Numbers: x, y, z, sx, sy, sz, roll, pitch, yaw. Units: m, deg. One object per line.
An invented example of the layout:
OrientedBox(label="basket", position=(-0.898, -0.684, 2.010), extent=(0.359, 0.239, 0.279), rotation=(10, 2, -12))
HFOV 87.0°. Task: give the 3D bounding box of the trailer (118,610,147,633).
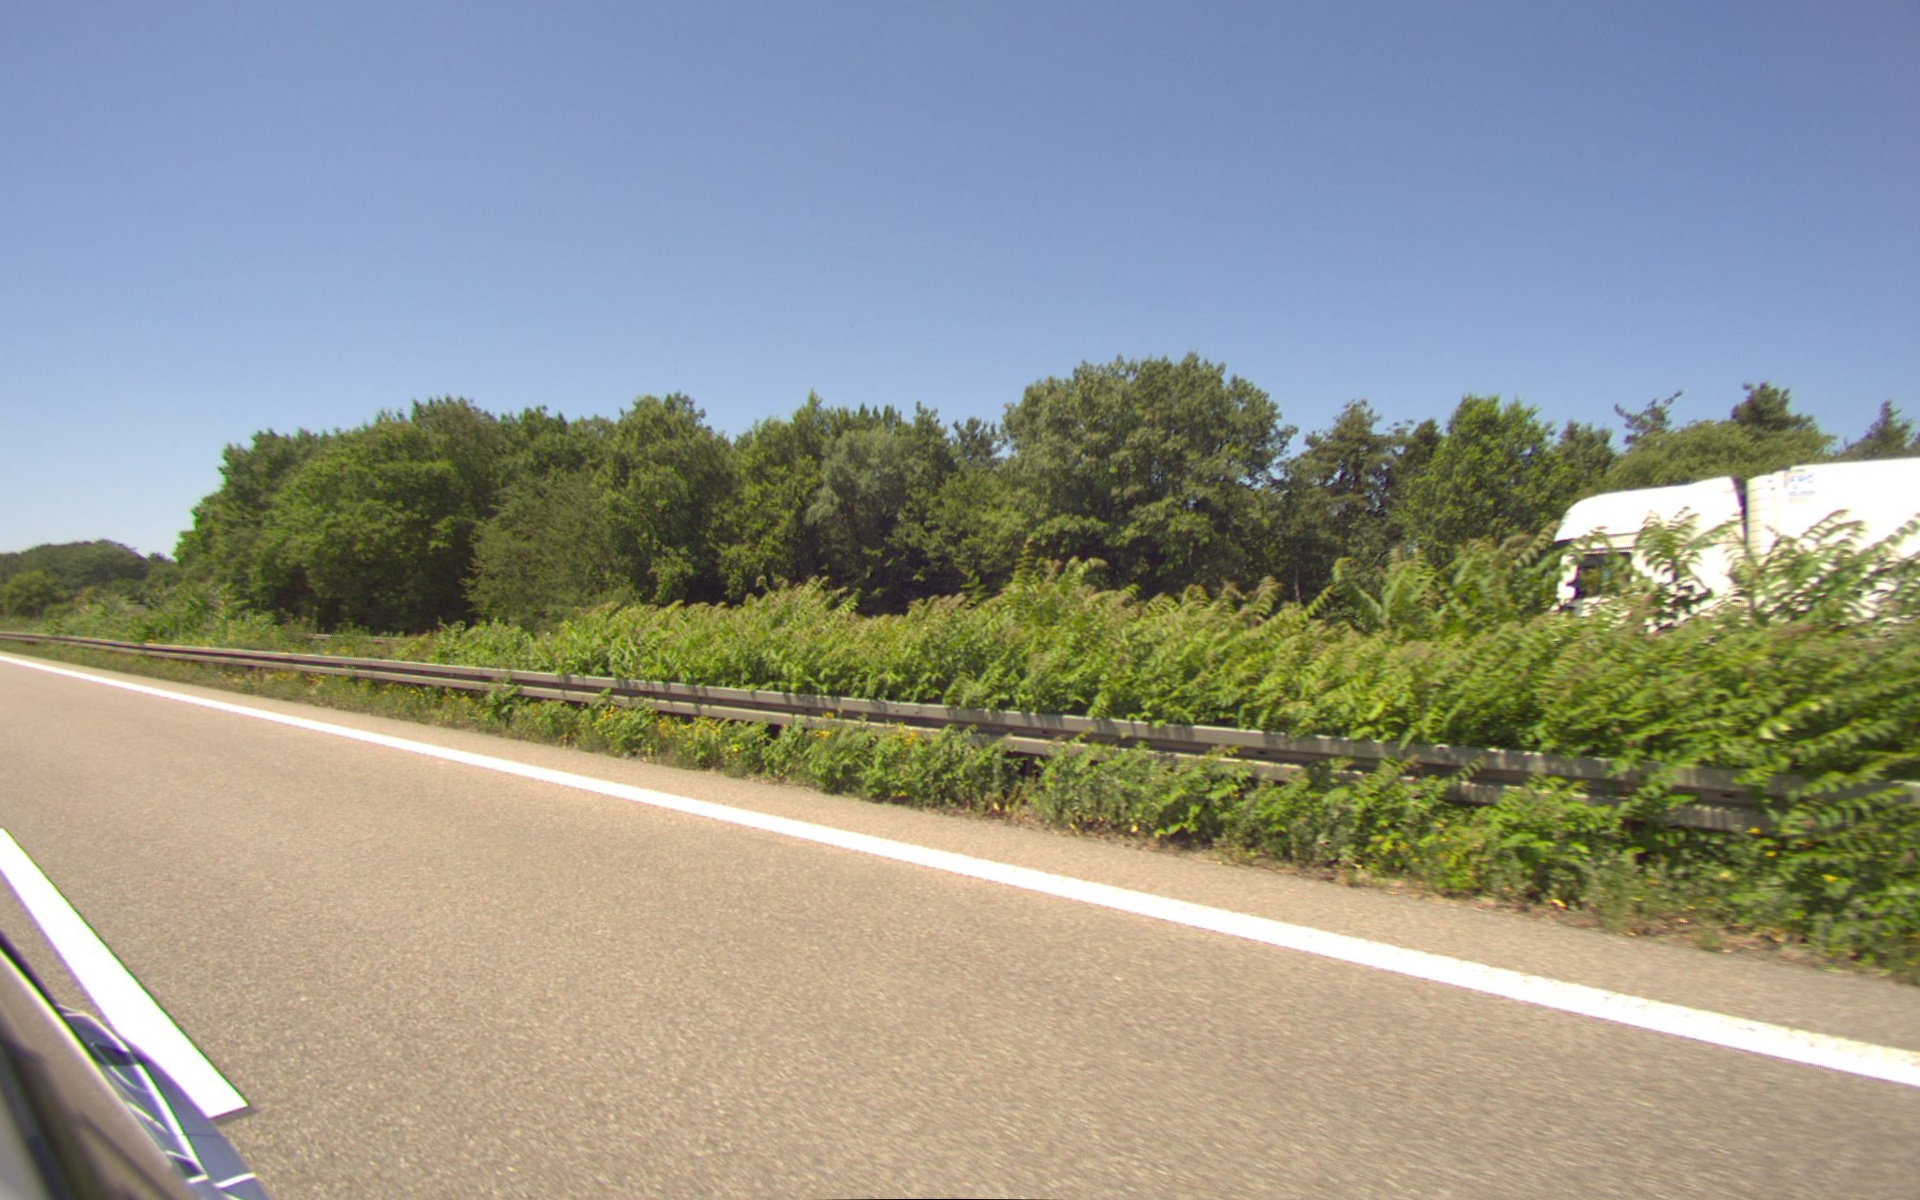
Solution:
OrientedBox(label="trailer", position=(-159.625, 4.133, 195.183), extent=(3.178, 4.167, 14.060), rotation=(-1, 0, -44))

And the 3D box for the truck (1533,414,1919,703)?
OrientedBox(label="truck", position=(12.313, -0.530, 15.124), extent=(6.031, 3.726, 3.148), rotation=(-1, 0, 40))

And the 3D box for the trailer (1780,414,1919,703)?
OrientedBox(label="trailer", position=(17.778, -0.621, 10.472), extent=(14.371, 3.726, 3.147), rotation=(-1, 0, 40))
